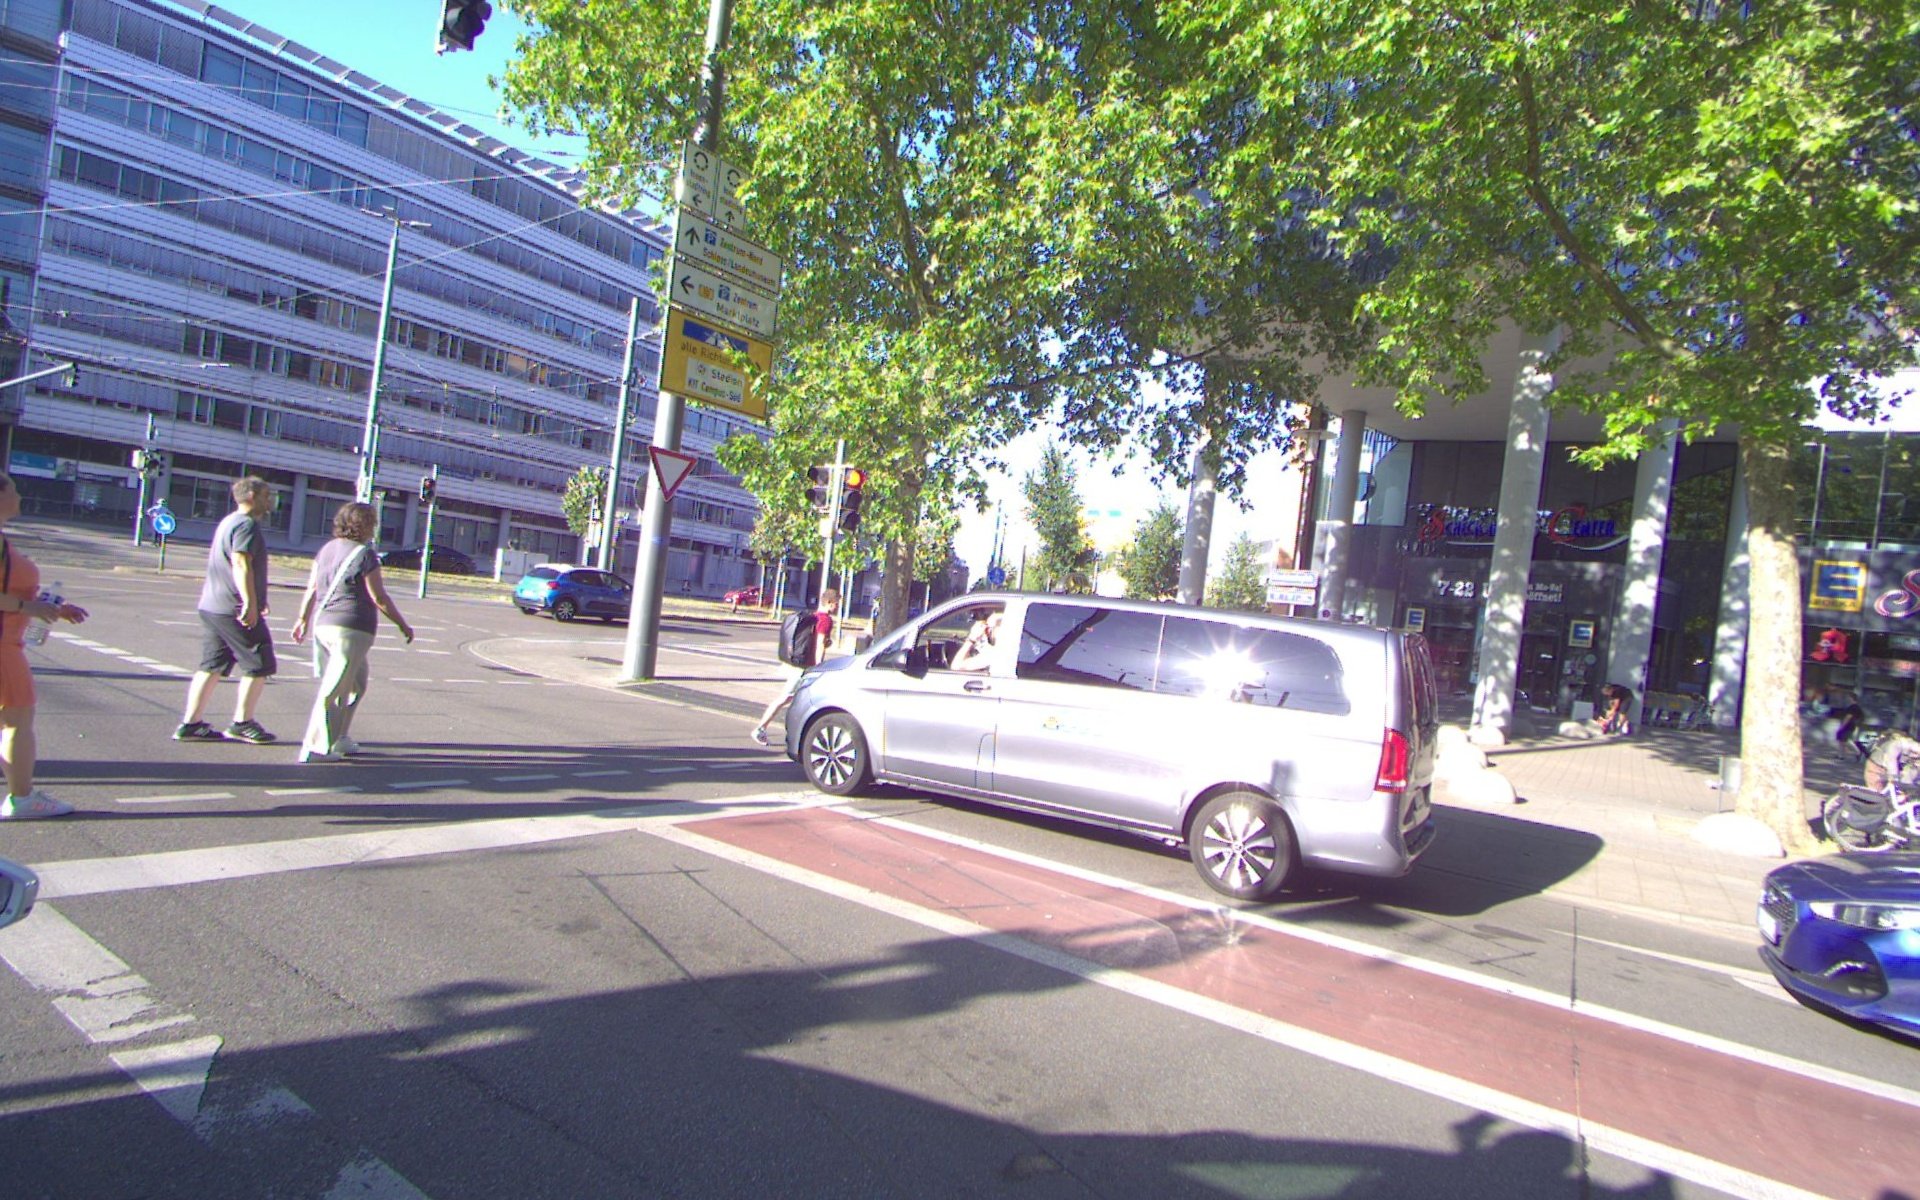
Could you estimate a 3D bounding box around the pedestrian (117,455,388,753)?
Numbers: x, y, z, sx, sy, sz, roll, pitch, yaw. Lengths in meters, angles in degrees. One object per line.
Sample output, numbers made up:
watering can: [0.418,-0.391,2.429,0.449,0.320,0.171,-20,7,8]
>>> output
pedestrian: [-5.038,0.054,7.232,0.818,1.915,1.149,7,-1,25]

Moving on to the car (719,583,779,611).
car: [-14.209,-0.185,67.961,1.768,1.484,3.595,7,0,37]

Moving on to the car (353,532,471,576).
car: [-24.658,-2.051,45.411,1.768,1.409,4.241,7,0,36]

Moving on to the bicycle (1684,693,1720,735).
bicycle: [22.607,3.461,30.633,0.709,1.142,1.912,7,0,39]

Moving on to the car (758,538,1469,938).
car: [1.054,0.820,8.035,5.053,1.988,1.997,7,-2,32]

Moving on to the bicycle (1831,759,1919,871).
bicycle: [10.326,2.347,10.619,1.545,1.038,0.461,7,1,29]

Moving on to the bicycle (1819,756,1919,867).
bicycle: [10.600,2.394,11.106,1.545,1.038,0.461,7,1,29]

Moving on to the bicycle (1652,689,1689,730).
bicycle: [22.000,3.395,31.143,0.709,1.142,1.912,7,0,39]

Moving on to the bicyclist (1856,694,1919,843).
bicyclist: [12.362,2.184,12.985,0.744,1.790,0.845,6,1,-30]

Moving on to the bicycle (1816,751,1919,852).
bicycle: [11.539,2.509,12.452,0.393,1.038,1.305,6,1,-42]

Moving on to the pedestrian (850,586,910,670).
pedestrian: [-1.900,0.664,23.825,0.855,1.841,0.845,7,-1,39]

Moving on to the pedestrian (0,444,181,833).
pedestrian: [-4.507,0.150,4.624,0.744,1.701,1.076,7,-1,25]

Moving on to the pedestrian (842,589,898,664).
pedestrian: [-2.236,0.663,25.069,0.855,1.701,0.845,7,-1,39]

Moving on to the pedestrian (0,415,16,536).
pedestrian: [-5.468,-0.075,4.774,0.725,1.893,1.077,7,-1,25]

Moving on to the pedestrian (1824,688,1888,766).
pedestrian: [23.102,3.272,25.948,0.990,1.867,0.844,6,1,-33]

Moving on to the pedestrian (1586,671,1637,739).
pedestrian: [17.369,2.787,26.854,0.952,1.662,0.864,7,1,32]

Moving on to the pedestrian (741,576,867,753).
pedestrian: [-1.637,0.690,10.686,0.617,1.735,1.076,7,-1,28]

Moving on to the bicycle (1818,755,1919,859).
bicycle: [11.220,2.499,12.056,0.393,1.038,1.305,6,1,-42]

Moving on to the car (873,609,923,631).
car: [-5.001,1.631,81.583,1.945,1.364,3.989,7,0,35]

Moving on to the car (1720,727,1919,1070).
car: [6.371,1.713,4.743,4.147,1.482,1.767,7,0,32]

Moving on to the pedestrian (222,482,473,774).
pedestrian: [-4.236,0.209,7.025,0.744,1.827,1.075,7,-1,25]

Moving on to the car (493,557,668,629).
car: [-10.215,-0.147,27.345,1.967,1.474,3.958,7,0,31]

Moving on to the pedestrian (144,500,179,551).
pedestrian: [-28.567,-2.652,35.995,0.549,1.701,0.719,7,-1,39]

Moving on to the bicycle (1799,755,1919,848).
bicycle: [12.323,2.675,12.958,0.661,0.945,2.167,7,0,-30]
